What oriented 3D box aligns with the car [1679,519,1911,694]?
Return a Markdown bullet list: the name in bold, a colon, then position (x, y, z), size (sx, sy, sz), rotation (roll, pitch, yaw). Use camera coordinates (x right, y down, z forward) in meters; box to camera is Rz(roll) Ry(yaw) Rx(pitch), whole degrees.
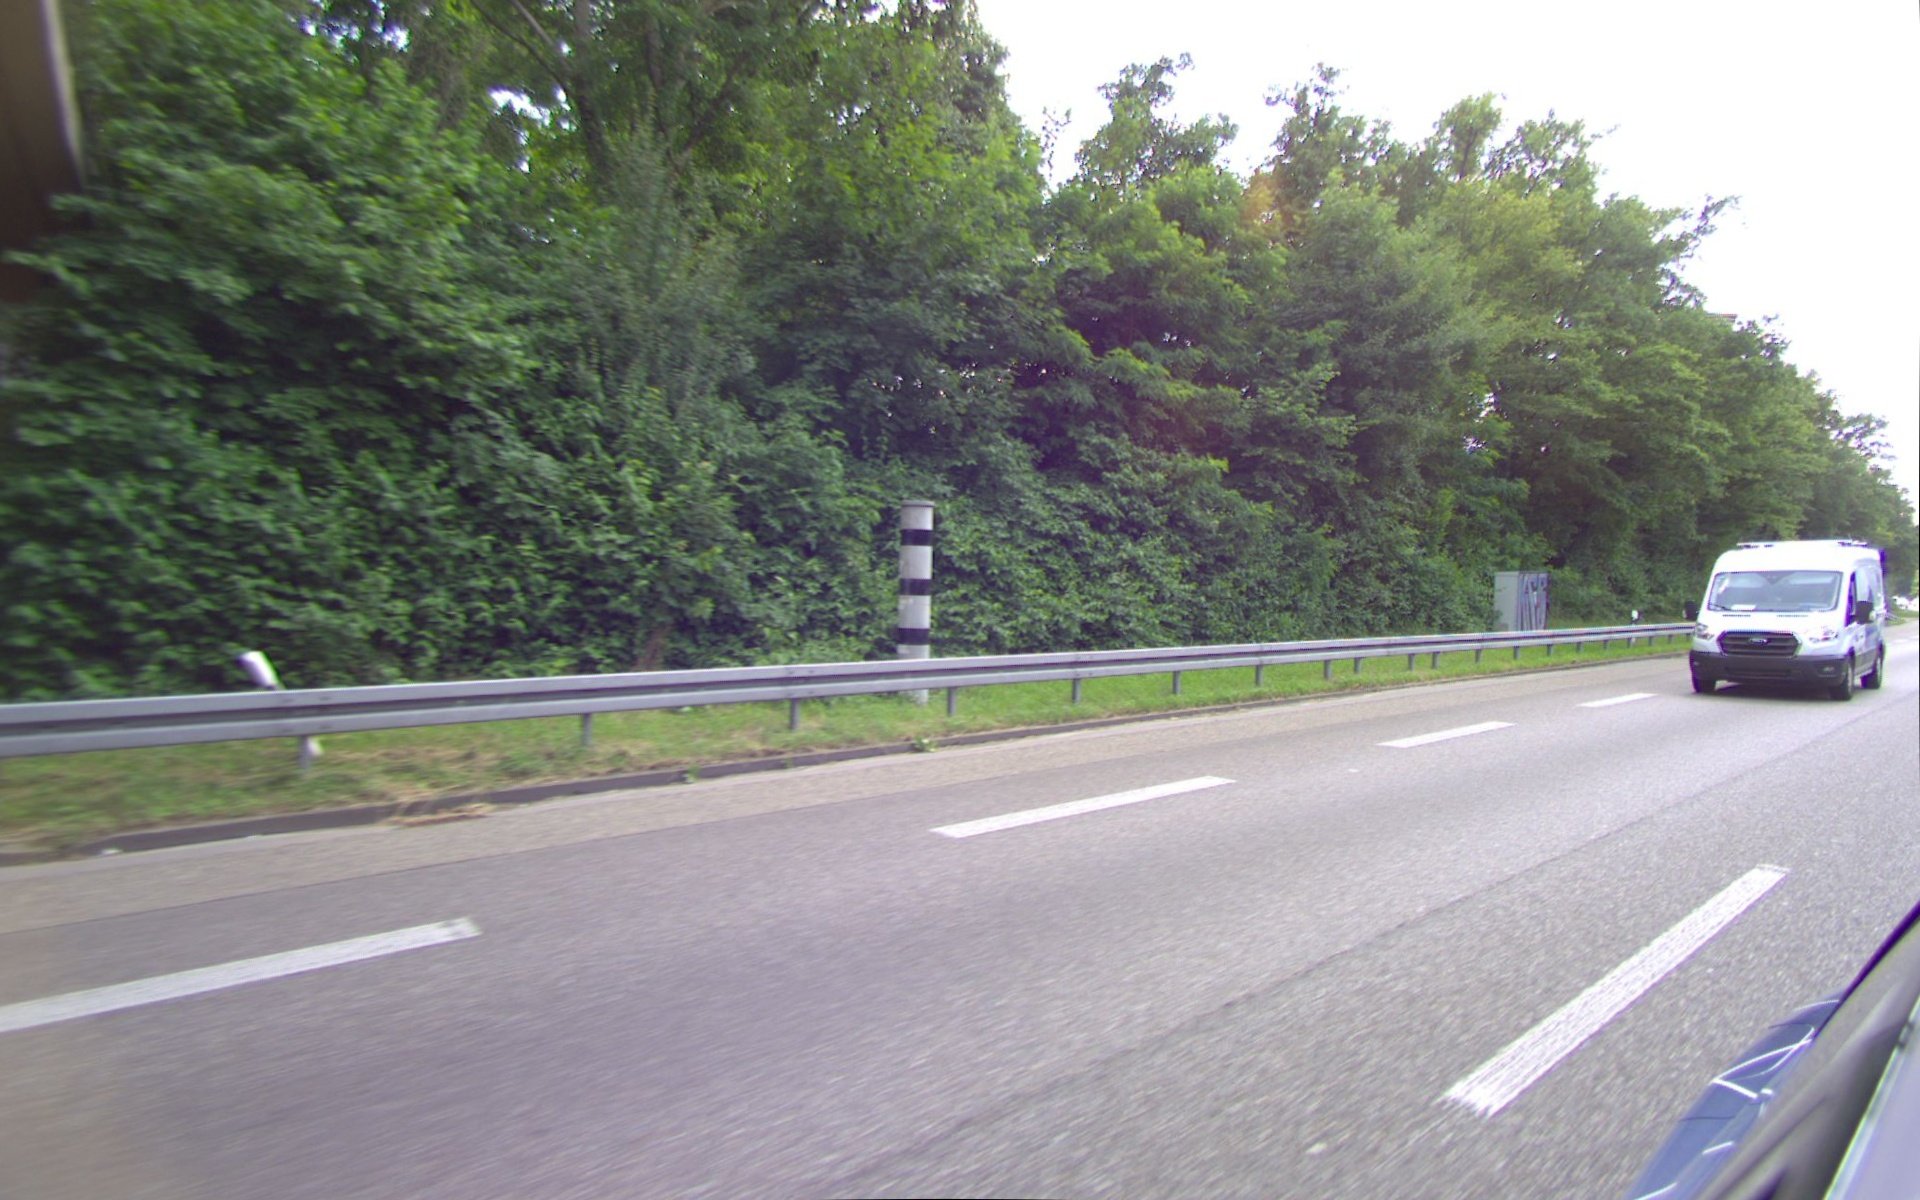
- **car**: position (14.253, 0.078, 17.152), size (5.185, 2.539, 2.103), rotation (0, 0, -40)
